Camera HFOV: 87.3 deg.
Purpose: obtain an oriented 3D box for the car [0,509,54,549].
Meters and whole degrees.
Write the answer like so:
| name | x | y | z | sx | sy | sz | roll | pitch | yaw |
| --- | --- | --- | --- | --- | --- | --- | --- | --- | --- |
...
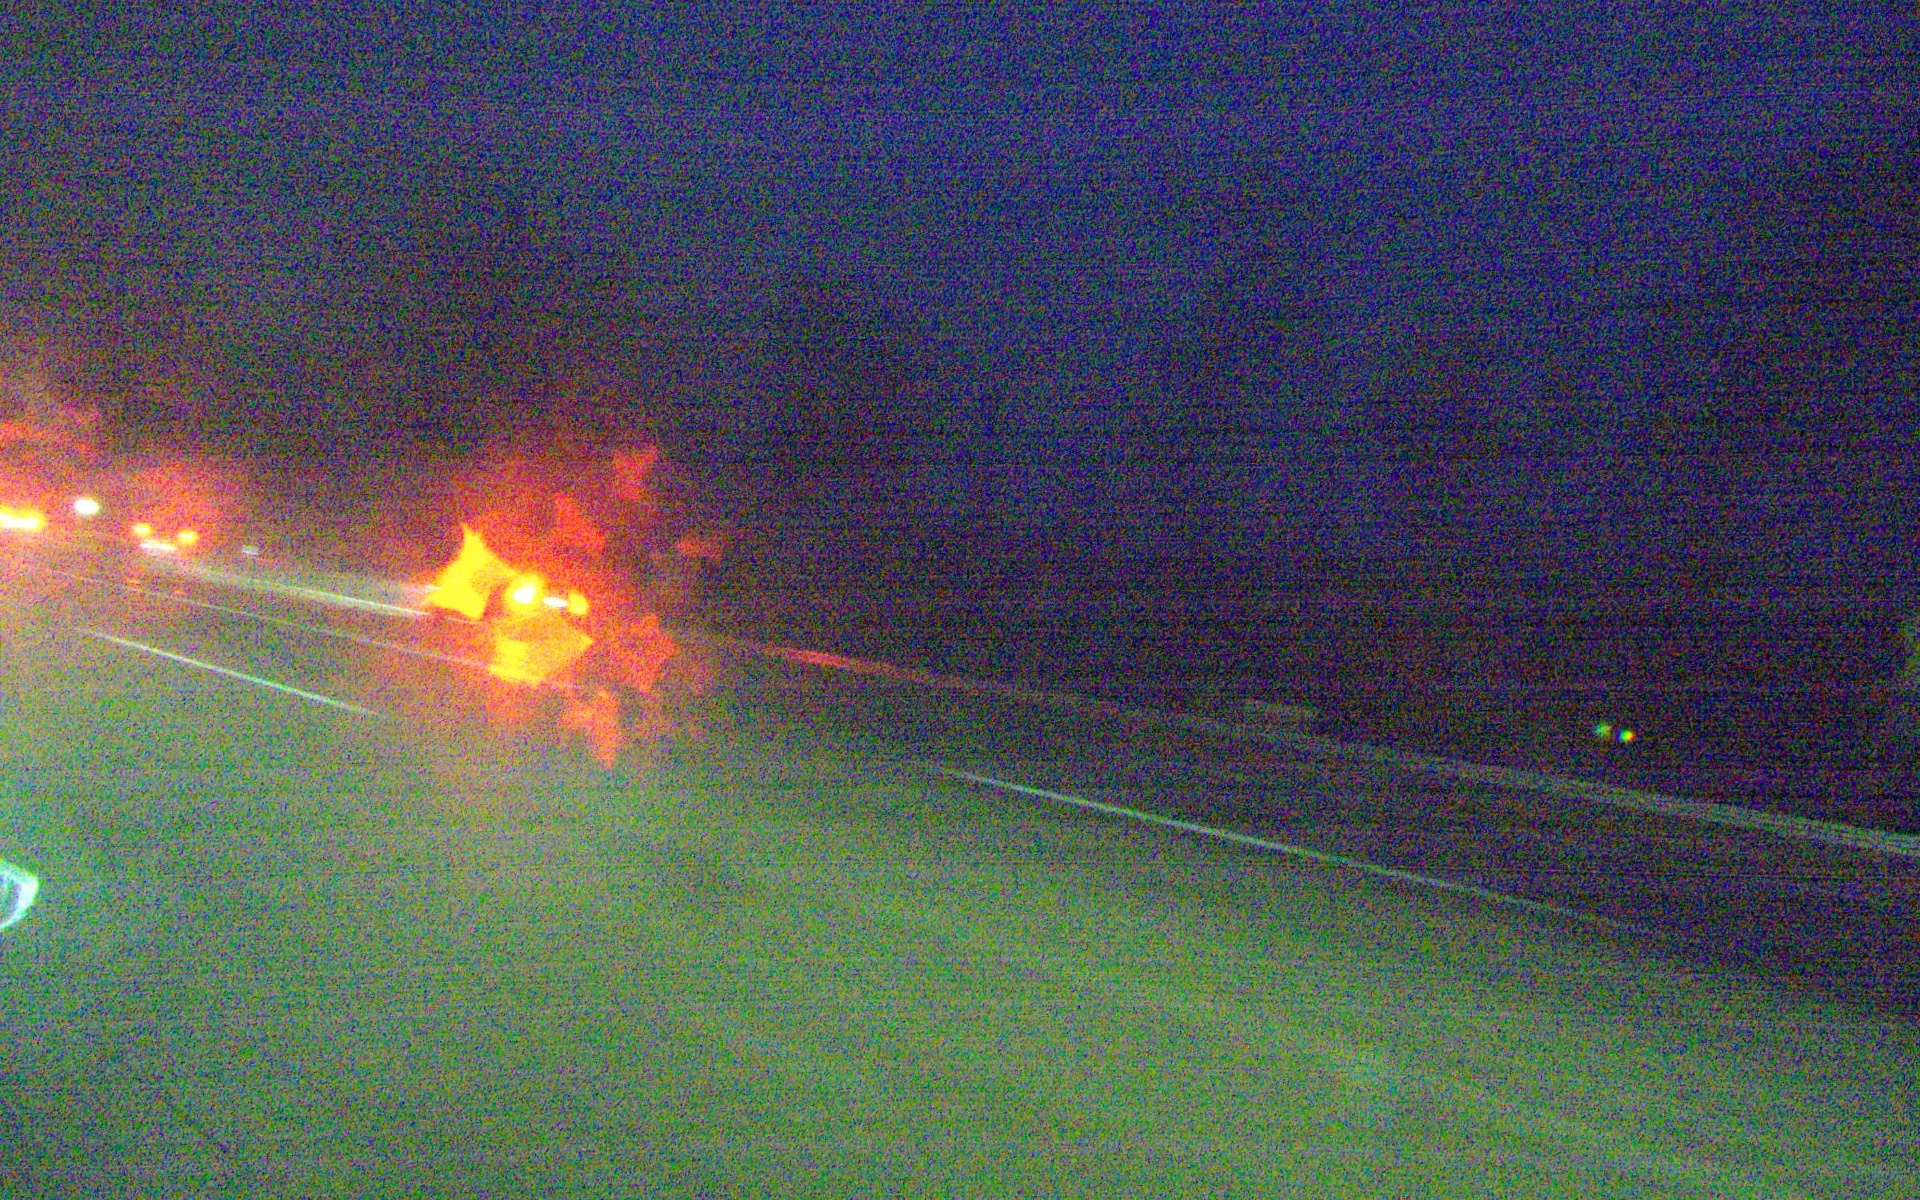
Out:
| name | x | y | z | sx | sy | sz | roll | pitch | yaw |
| --- | --- | --- | --- | --- | --- | --- | --- | --- | --- |
| car | -49.404 | -3.796 | 52.473 | 3.934 | 1.617 | 1.999 | 7 | -4 | 32 |

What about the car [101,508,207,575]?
| name | x | y | z | sx | sy | sz | roll | pitch | yaw |
| --- | --- | --- | --- | --- | --- | --- | --- | --- | --- |
| car | -32.058 | -2.328 | 39.988 | 3.940 | 2.036 | 2.234 | 7 | -2 | 38 |

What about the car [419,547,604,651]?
| name | x | y | z | sx | sy | sz | roll | pitch | yaw |
| --- | --- | --- | --- | --- | --- | --- | --- | --- | --- |
| car | -12.172 | -0.076 | 27.131 | 5.367 | 2.036 | 2.064 | 7 | -2 | 38 |
